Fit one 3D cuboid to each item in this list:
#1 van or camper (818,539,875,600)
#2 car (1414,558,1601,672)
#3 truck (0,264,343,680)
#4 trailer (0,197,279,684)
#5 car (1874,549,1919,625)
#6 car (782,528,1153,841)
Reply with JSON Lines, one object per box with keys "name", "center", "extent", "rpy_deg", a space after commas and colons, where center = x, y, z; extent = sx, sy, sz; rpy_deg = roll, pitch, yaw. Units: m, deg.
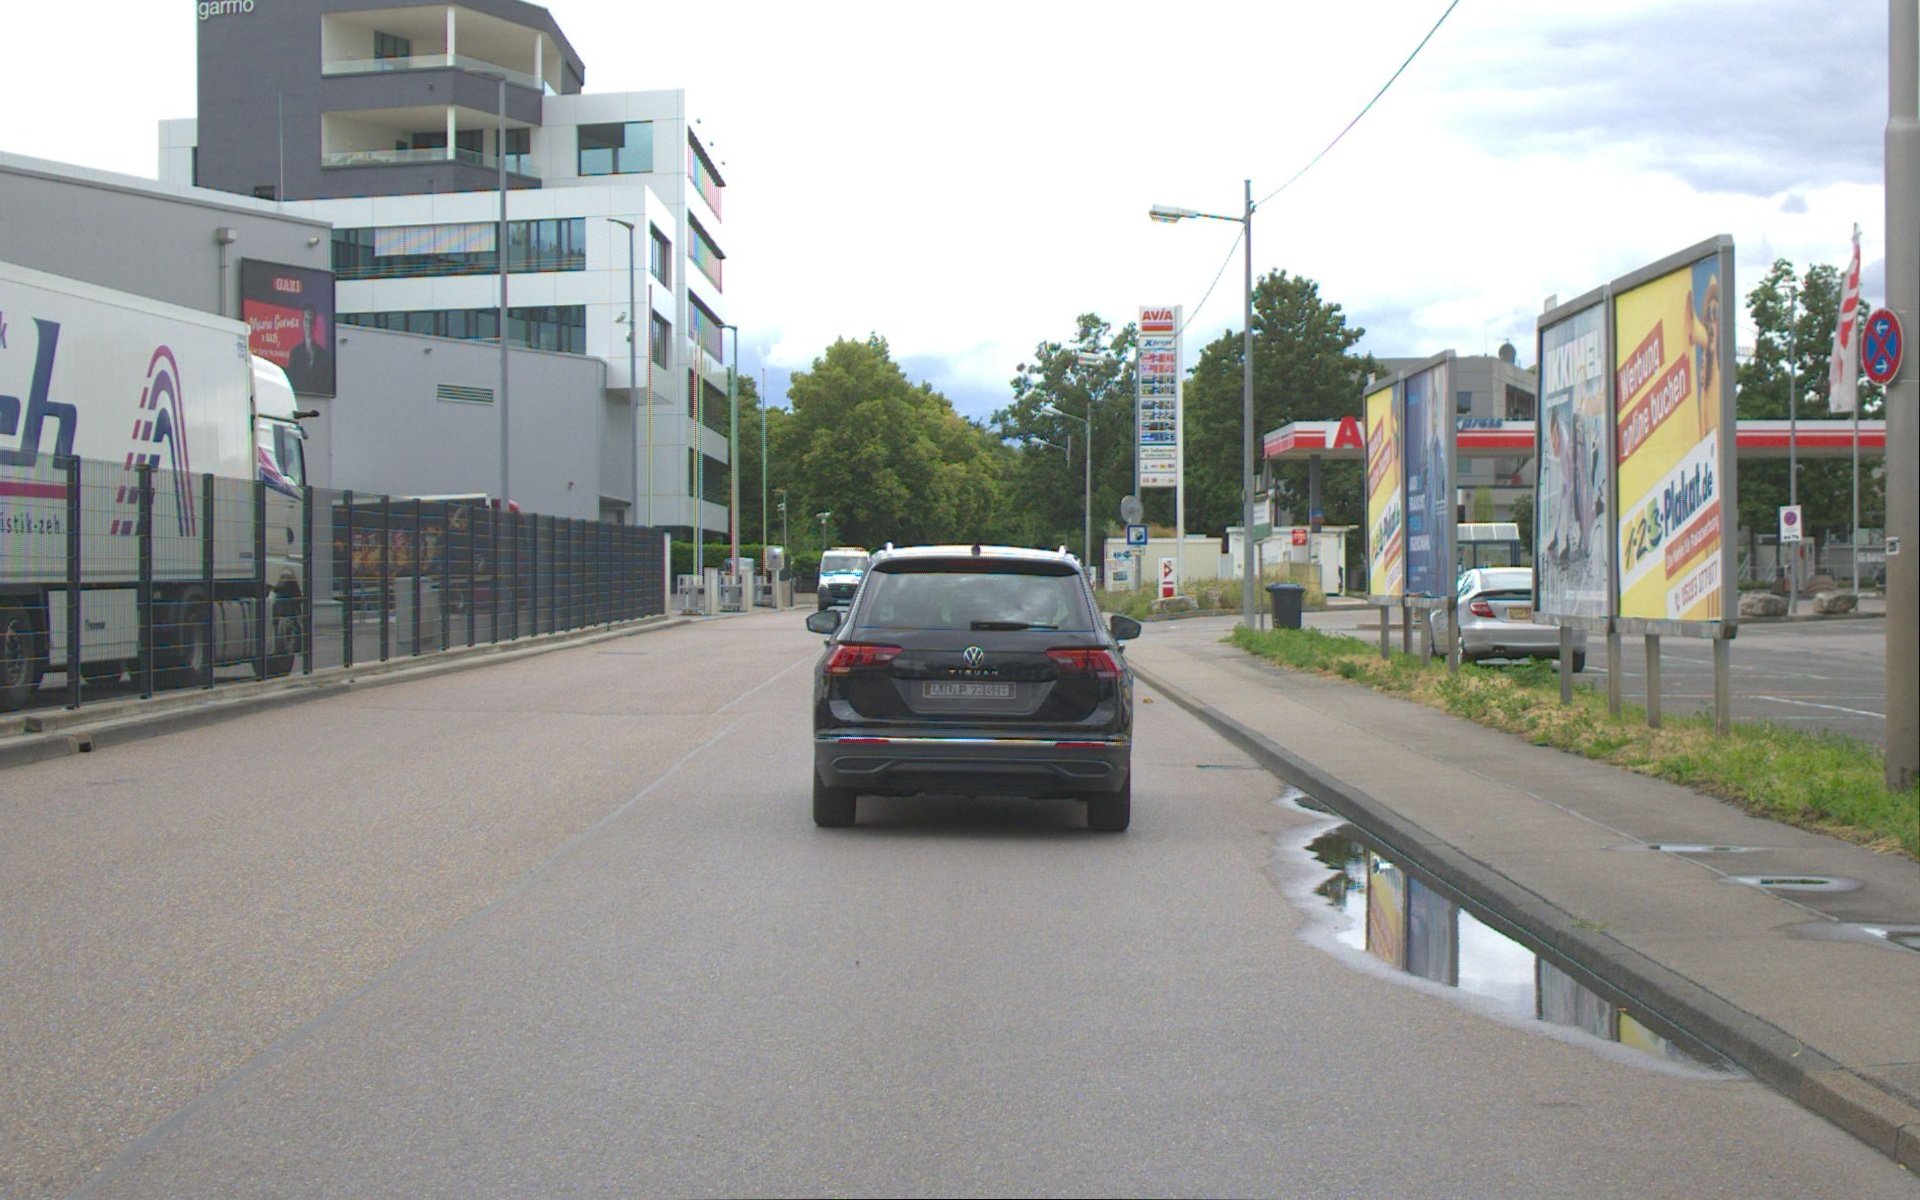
{"name": "van or camper", "center": [-4.233, -1.167, 129.159], "extent": [1.993, 2.248, 4.000], "rpy_deg": [0, 1, 0]}
{"name": "car", "center": [7.528, 0.170, 47.665], "extent": [1.889, 1.440, 4.428], "rpy_deg": [2, 1, 1]}
{"name": "truck", "center": [-9.391, -1.294, 38.402], "extent": [3.128, 4.103, 6.941], "rpy_deg": [-4, 0, 3]}
{"name": "trailer", "center": [-9.743, -1.330, 31.866], "extent": [3.133, 4.246, 14.018], "rpy_deg": [-4, 0, 3]}
{"name": "car", "center": [22.561, -0.311, 78.913], "extent": [1.993, 1.700, 4.000], "rpy_deg": [0, 1, -2]}
{"name": "car", "center": [0.050, 0.433, 20.692], "extent": [1.993, 1.678, 4.371], "rpy_deg": [0, 0, 0]}
